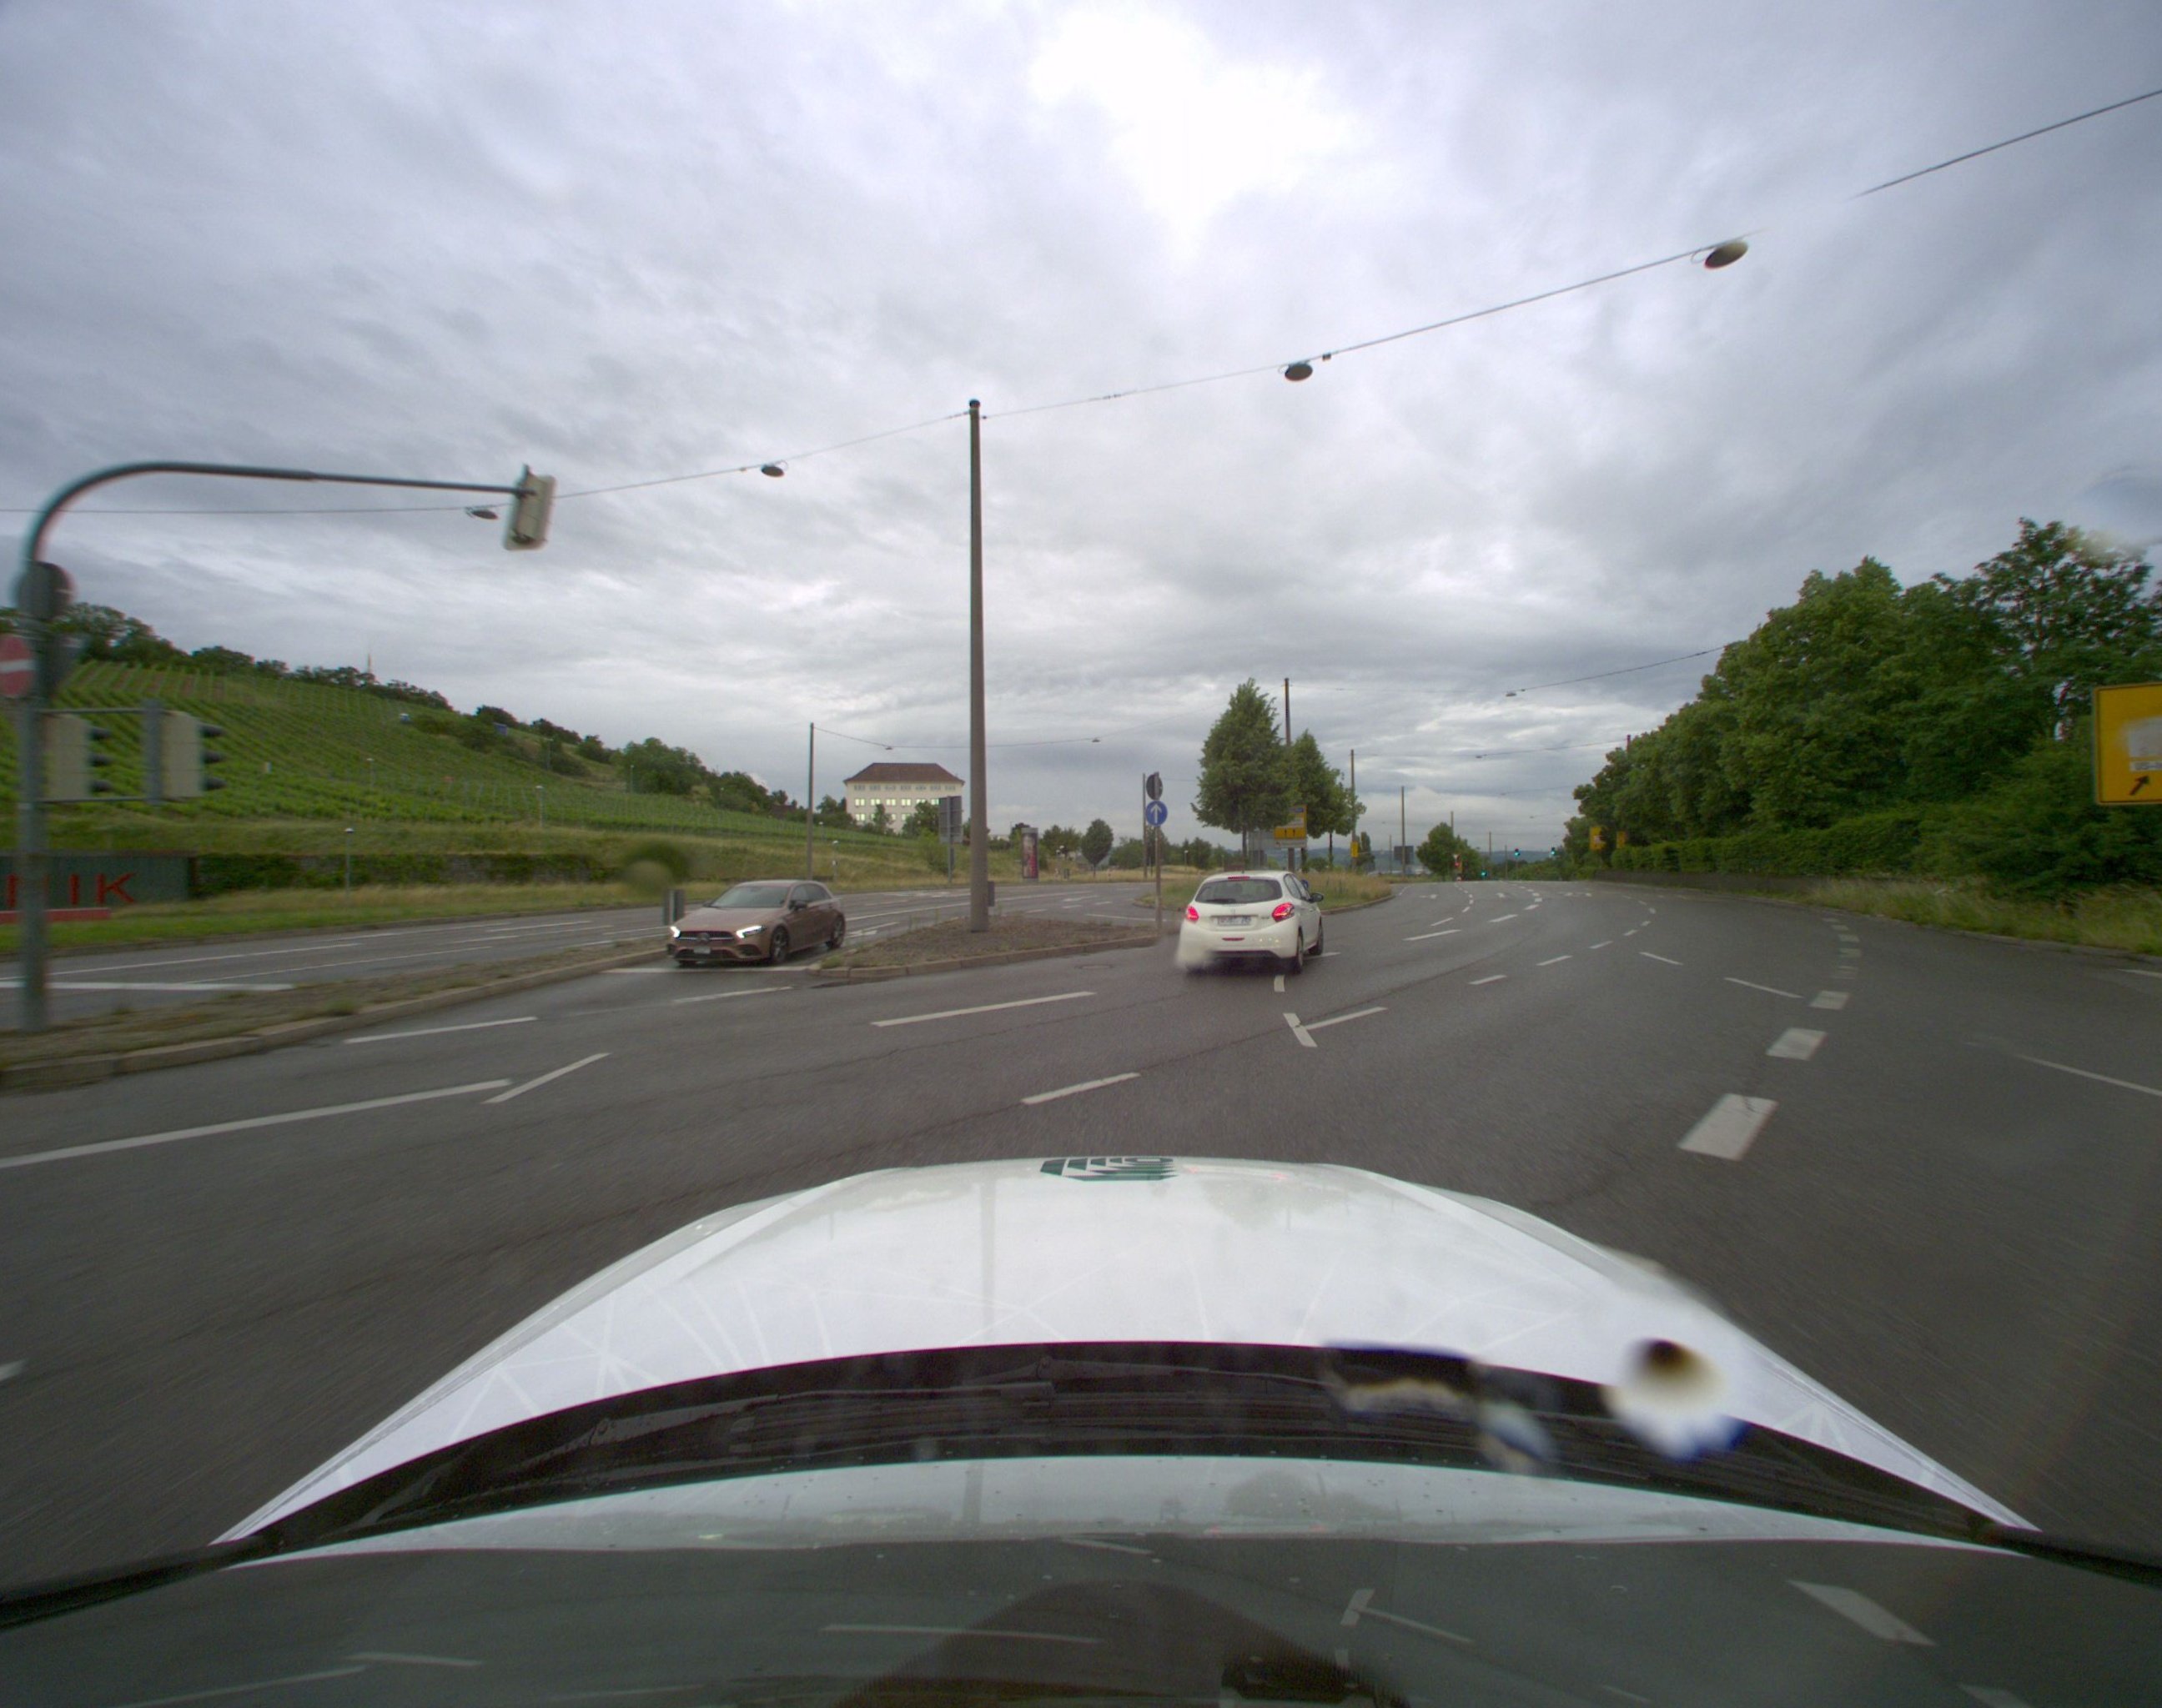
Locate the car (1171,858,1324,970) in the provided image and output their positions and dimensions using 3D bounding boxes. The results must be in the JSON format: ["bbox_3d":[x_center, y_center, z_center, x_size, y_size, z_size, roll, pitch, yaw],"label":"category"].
[{"bbox_3d":[2.805,0.825,13.007,1.703,1.489,4.021,-1,-1,22],"label":"car"}]

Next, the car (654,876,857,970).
[{"bbox_3d":[-5.854,1.171,15.307,1.768,1.425,4.378,-1,-1,4],"label":"car"}]

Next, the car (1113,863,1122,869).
[{"bbox_3d":[8.917,2.977,198.428,1.837,1.486,3.995,-1,0,-3],"label":"car"}]

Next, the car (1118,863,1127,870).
[{"bbox_3d":[9.647,2.868,190.065,1.837,1.486,3.995,-1,0,-3],"label":"car"}]
